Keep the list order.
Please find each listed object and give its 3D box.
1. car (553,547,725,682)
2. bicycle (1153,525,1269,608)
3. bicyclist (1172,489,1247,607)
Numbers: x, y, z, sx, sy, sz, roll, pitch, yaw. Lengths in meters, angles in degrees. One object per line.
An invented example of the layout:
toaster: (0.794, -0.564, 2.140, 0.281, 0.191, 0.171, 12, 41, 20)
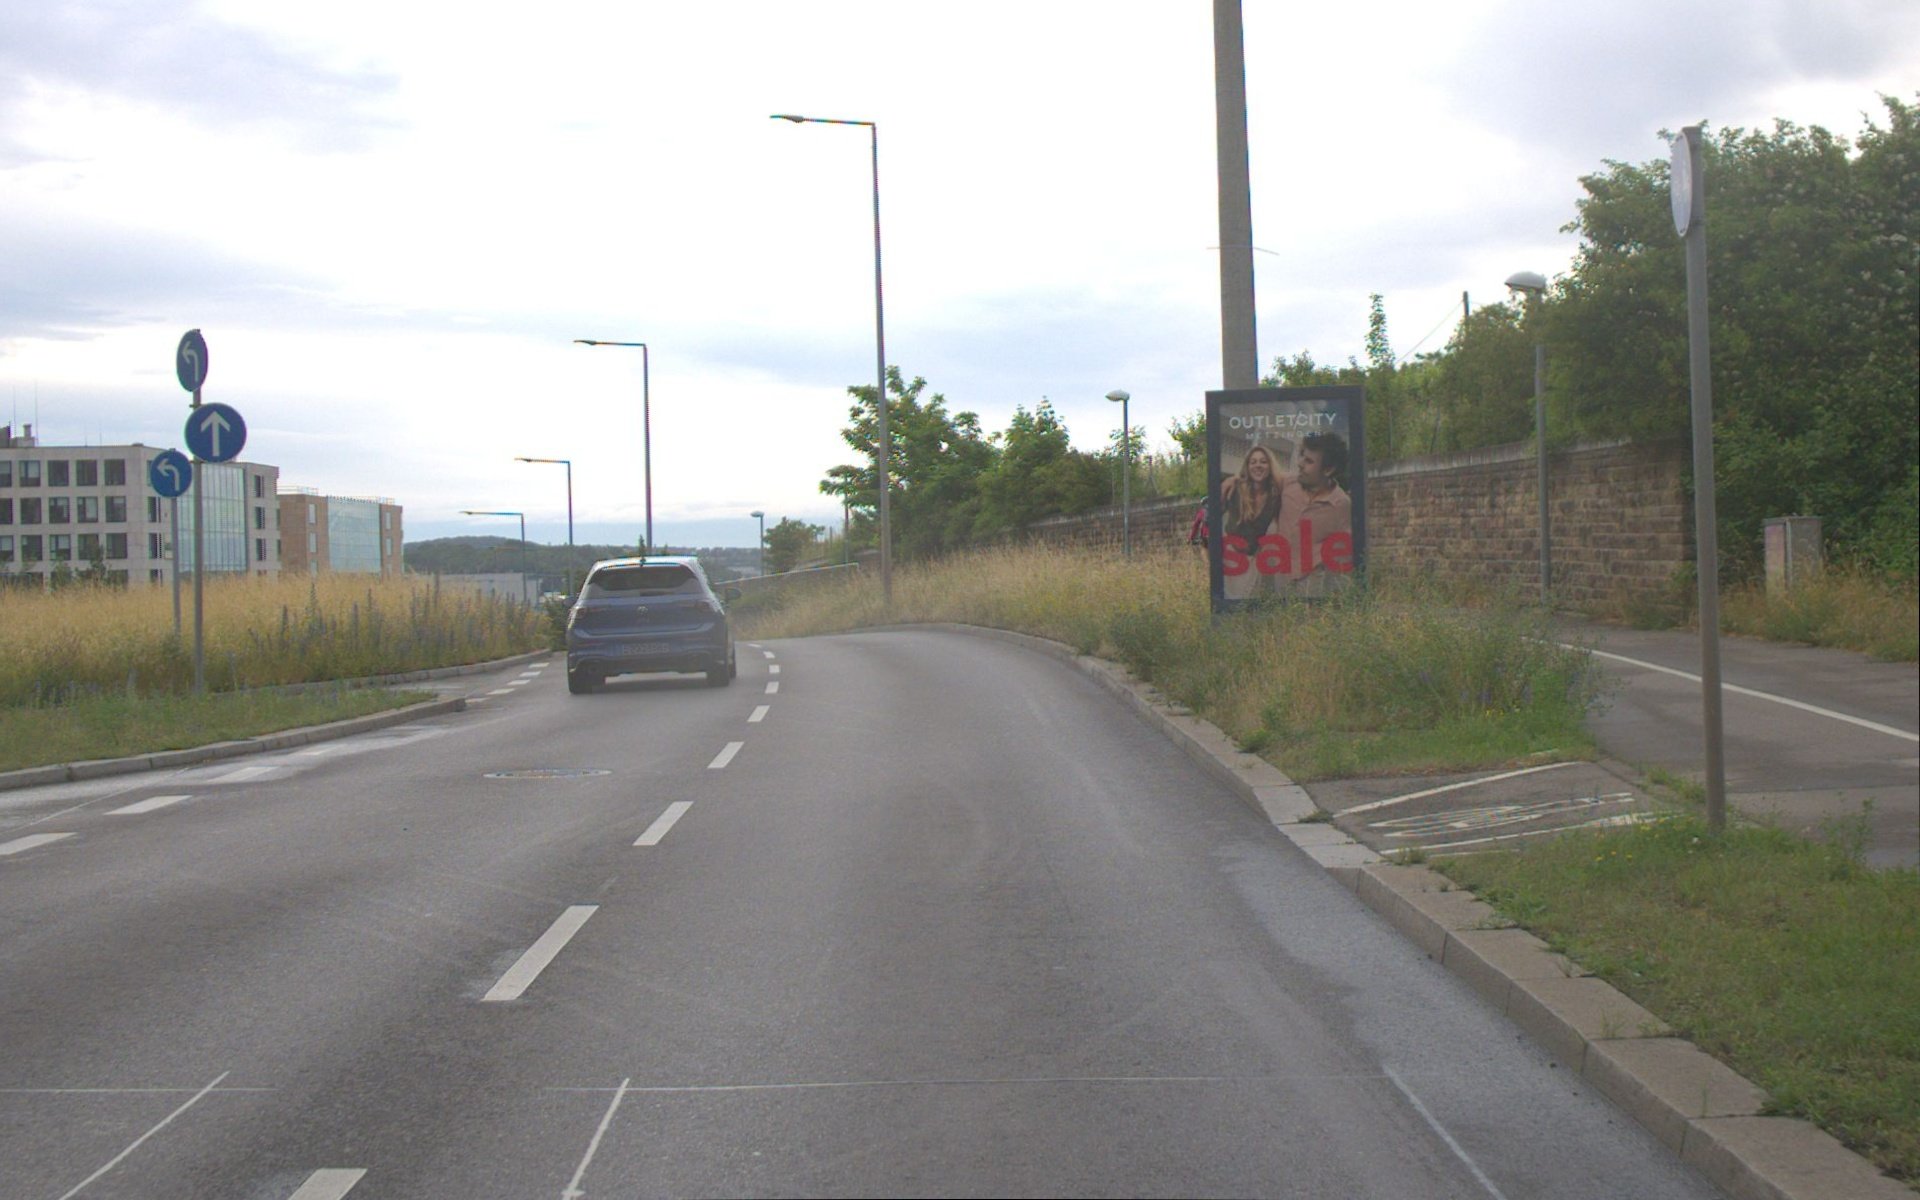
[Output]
car: (-3.533, 0.137, 38.322, 1.748, 1.415, 3.478, 1, 0, -3)
bicycle: (4.125, -0.531, 56.898, 0.869, 1.284, 3.488, 2, -1, -13)
bicyclist: (4.128, -0.849, 56.924, 0.869, 1.902, 1.294, 1, -1, -13)
